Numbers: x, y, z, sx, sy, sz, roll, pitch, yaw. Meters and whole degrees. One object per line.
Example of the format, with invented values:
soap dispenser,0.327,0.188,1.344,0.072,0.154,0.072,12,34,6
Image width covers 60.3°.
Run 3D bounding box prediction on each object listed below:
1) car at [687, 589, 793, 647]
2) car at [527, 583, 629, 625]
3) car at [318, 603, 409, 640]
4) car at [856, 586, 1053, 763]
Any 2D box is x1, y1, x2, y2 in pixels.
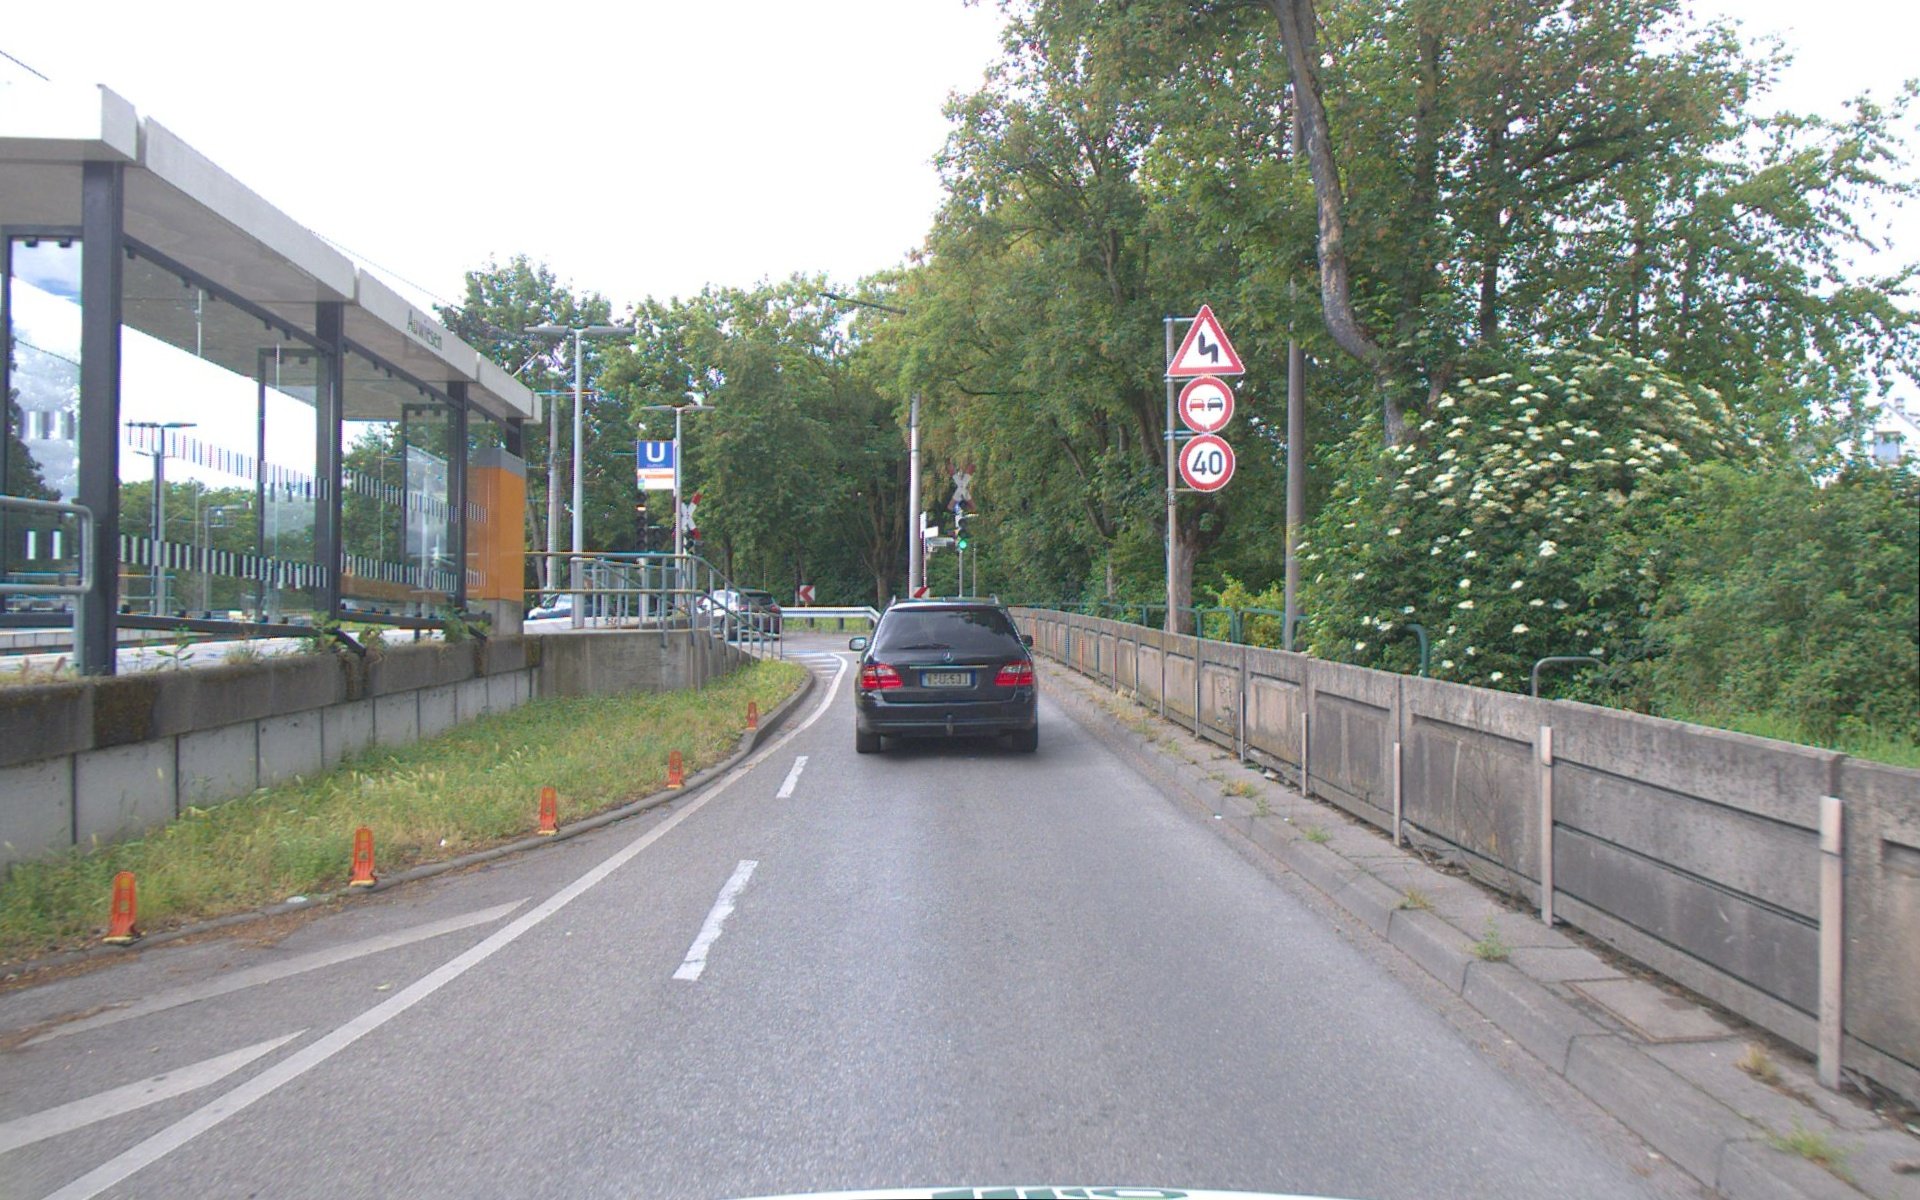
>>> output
car,-6.690,0.505,49.976,1.764,1.677,3.957,0,0,-31
car,-13.665,0.123,59.017,1.982,1.424,3.941,0,0,-41
car,-24.625,0.867,68.222,3.929,1.424,1.988,0,0,42
car,-0.134,0.649,16.799,1.746,1.552,3.998,-1,0,-3
